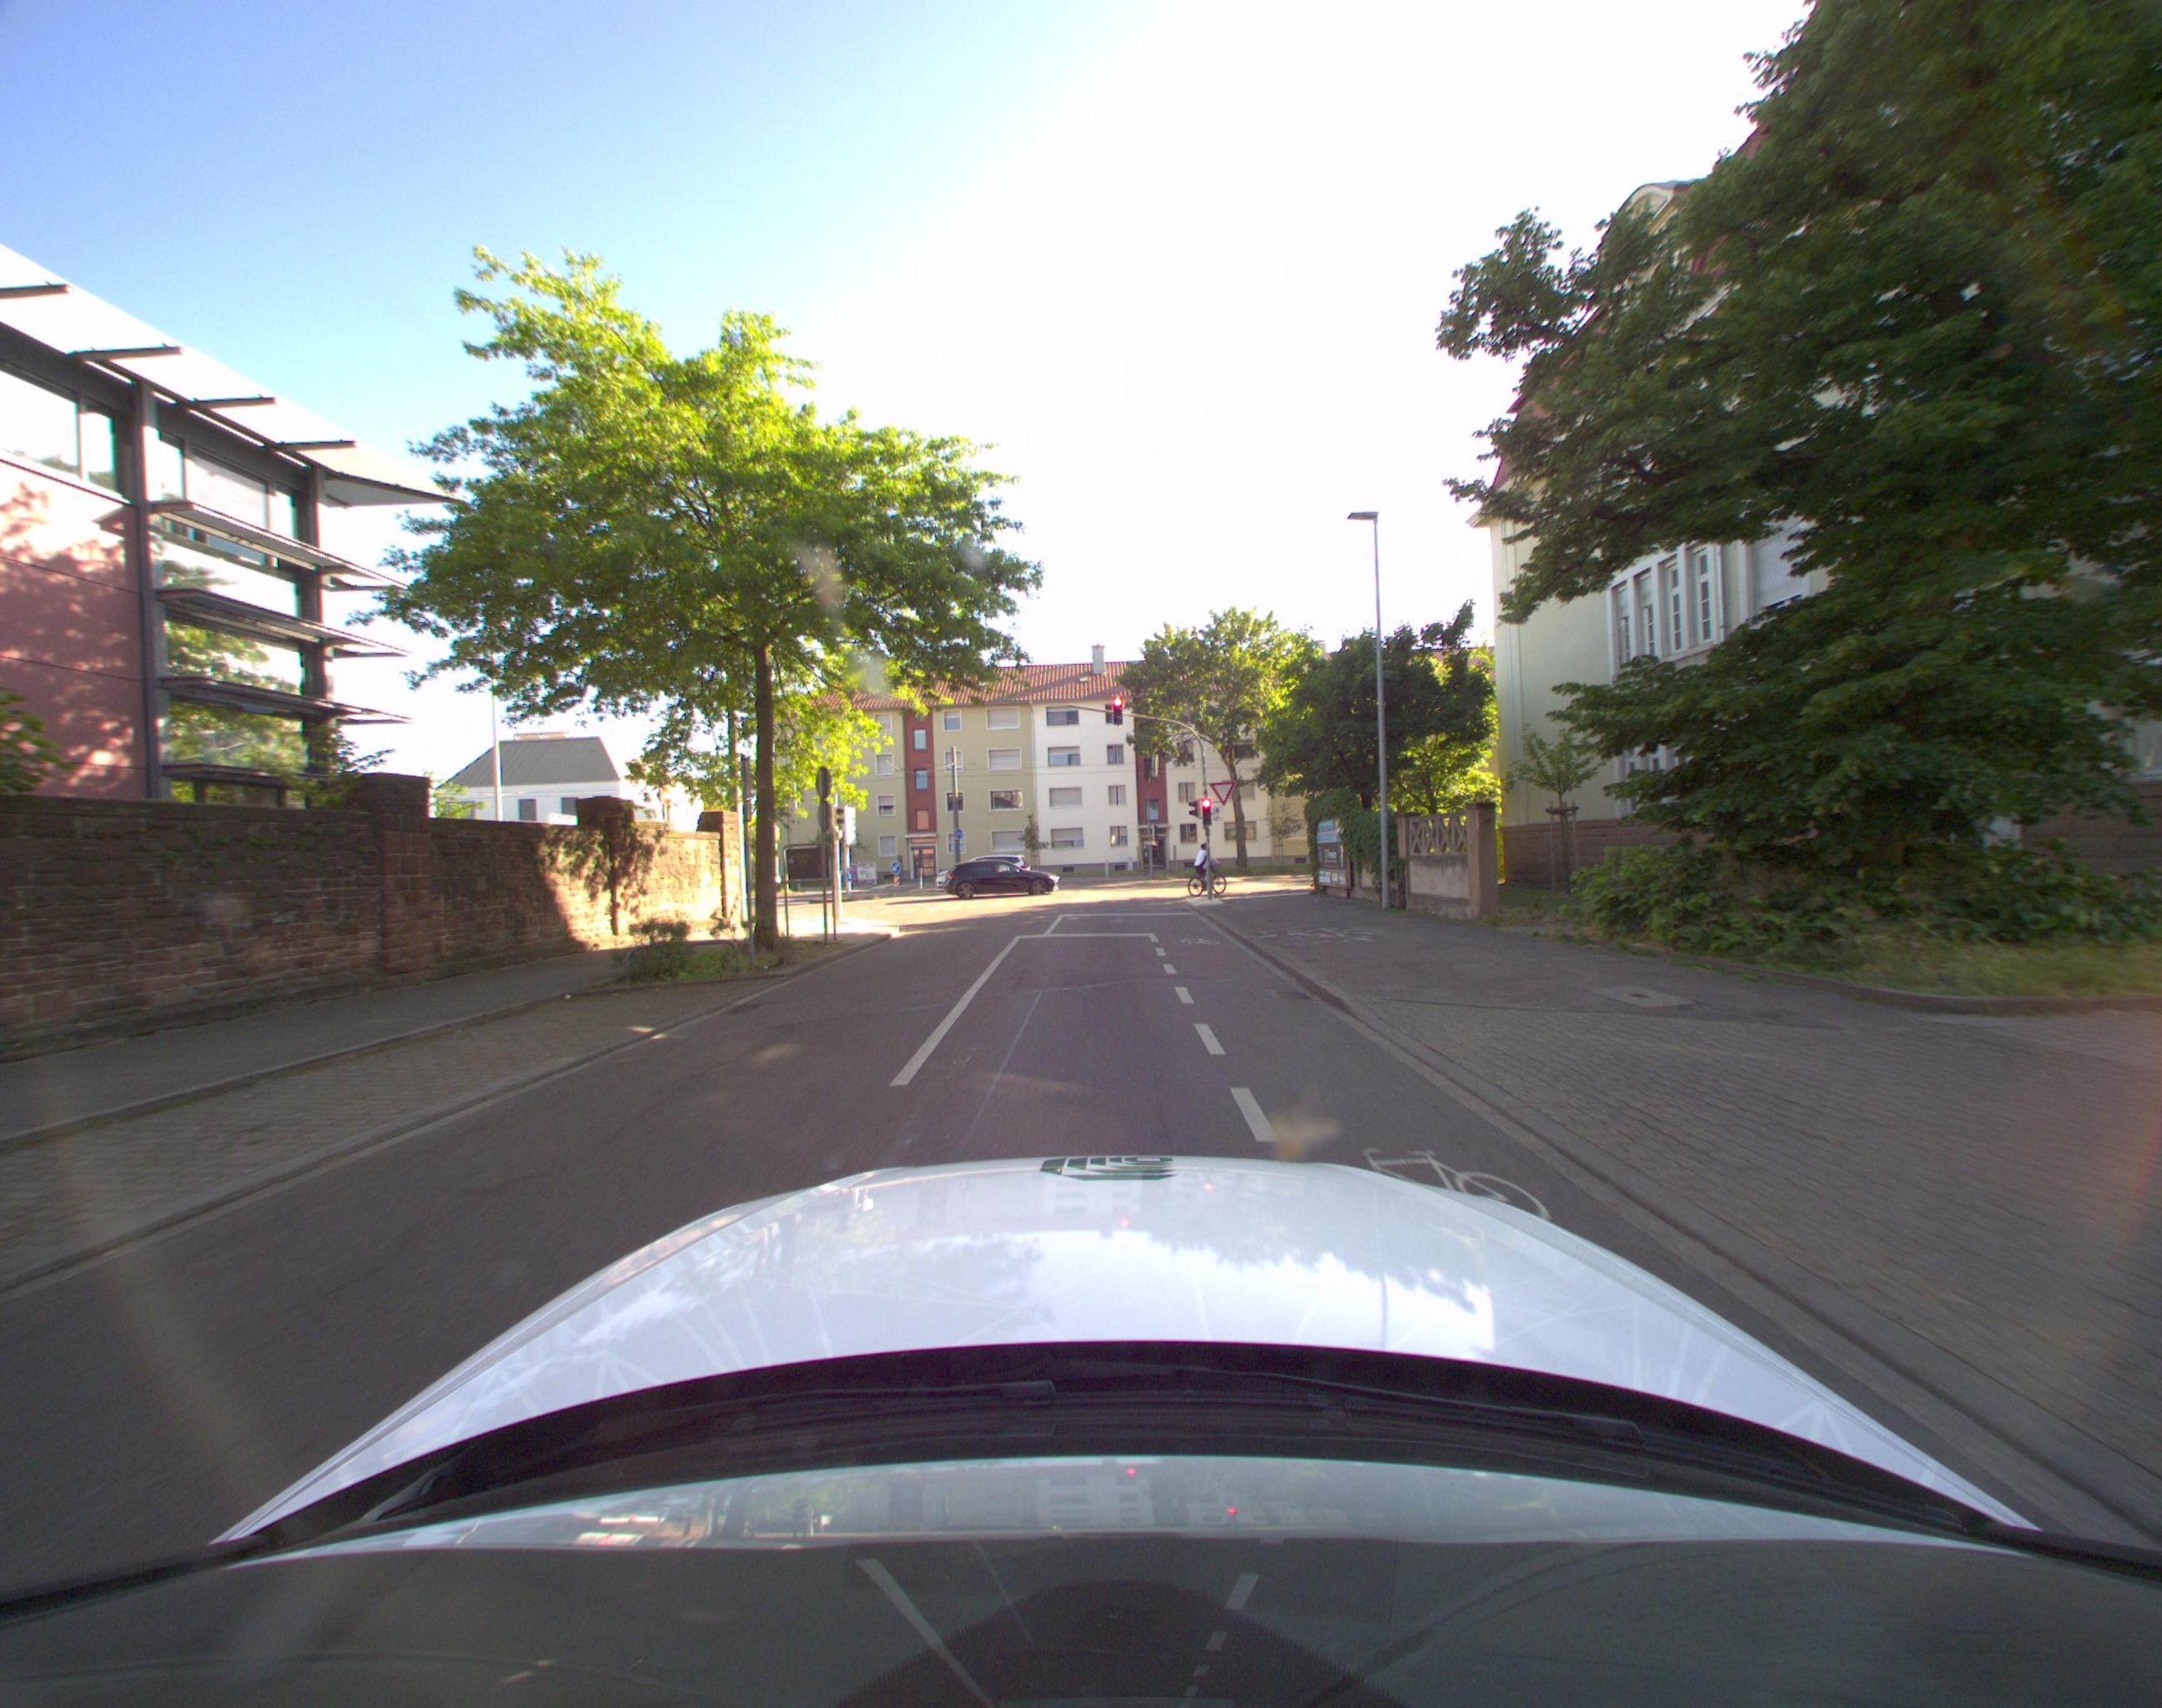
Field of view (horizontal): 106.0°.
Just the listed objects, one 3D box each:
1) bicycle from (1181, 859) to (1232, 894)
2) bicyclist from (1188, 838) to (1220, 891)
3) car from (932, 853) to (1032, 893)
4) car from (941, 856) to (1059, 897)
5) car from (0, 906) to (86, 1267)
[{"bbox_3d":[4.195,0.746,27.262,1.689,1.080,0.349,-2,0,-20],"label":"bicycle"},{"bbox_3d":[4.121,0.346,27.287,0.789,1.757,0.608,-2,0,-21],"label":"bicyclist"},{"bbox_3d":[-4.776,0.906,39.626,4.659,1.739,1.995,-2,0,-8],"label":"car"},{"bbox_3d":[-3.117,0.822,31.055,4.202,1.421,1.843,-1,0,-17],"label":"car"},{"bbox_3d":[-5.378,0.964,1.413,1.720,1.475,4.479,0,0,1],"label":"car"}]
